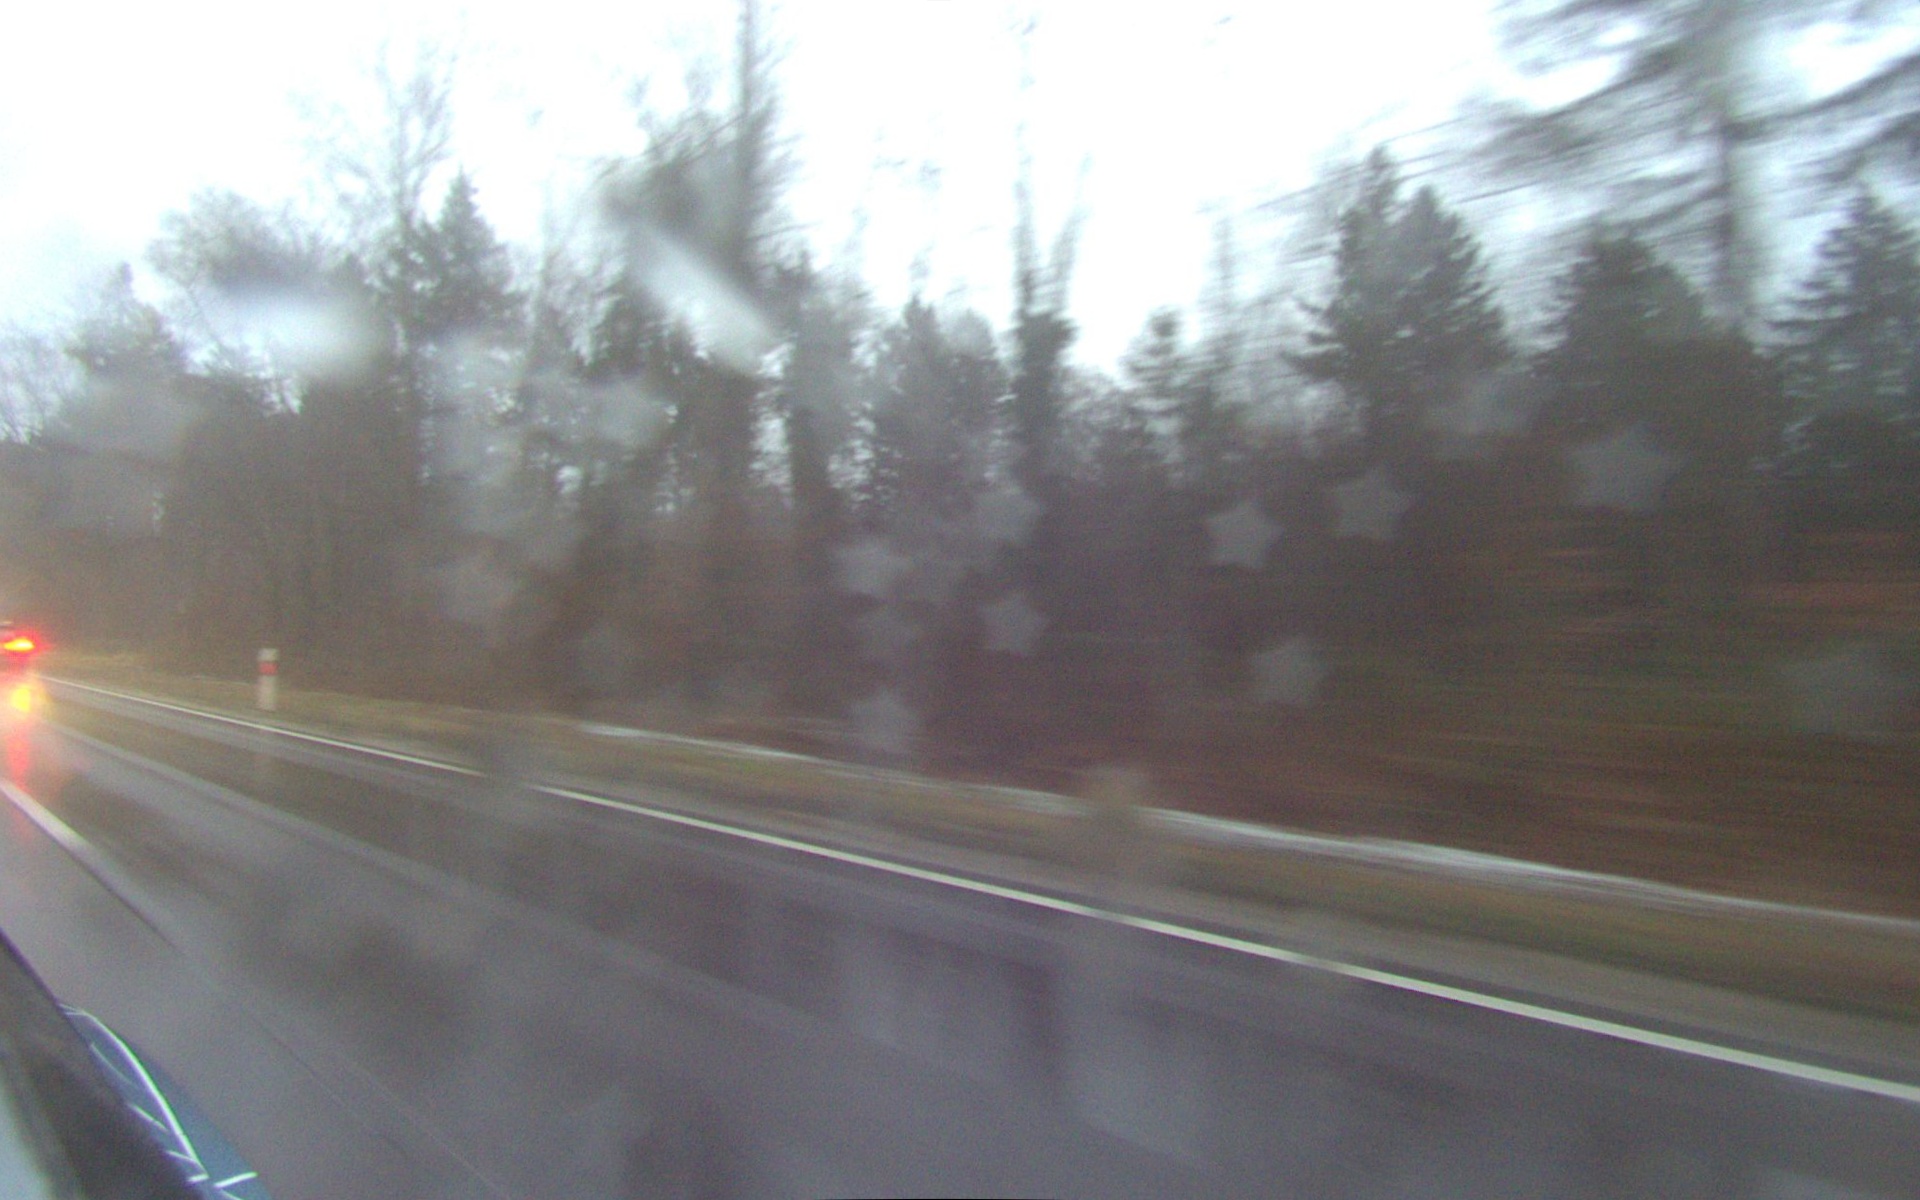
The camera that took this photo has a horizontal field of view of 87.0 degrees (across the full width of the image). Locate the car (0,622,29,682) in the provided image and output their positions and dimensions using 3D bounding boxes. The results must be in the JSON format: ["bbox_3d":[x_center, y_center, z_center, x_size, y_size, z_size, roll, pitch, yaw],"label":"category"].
[{"bbox_3d":[-27.563,1.416,28.256,4.927,1.580,1.953,-2,-3,43],"label":"car"}]
